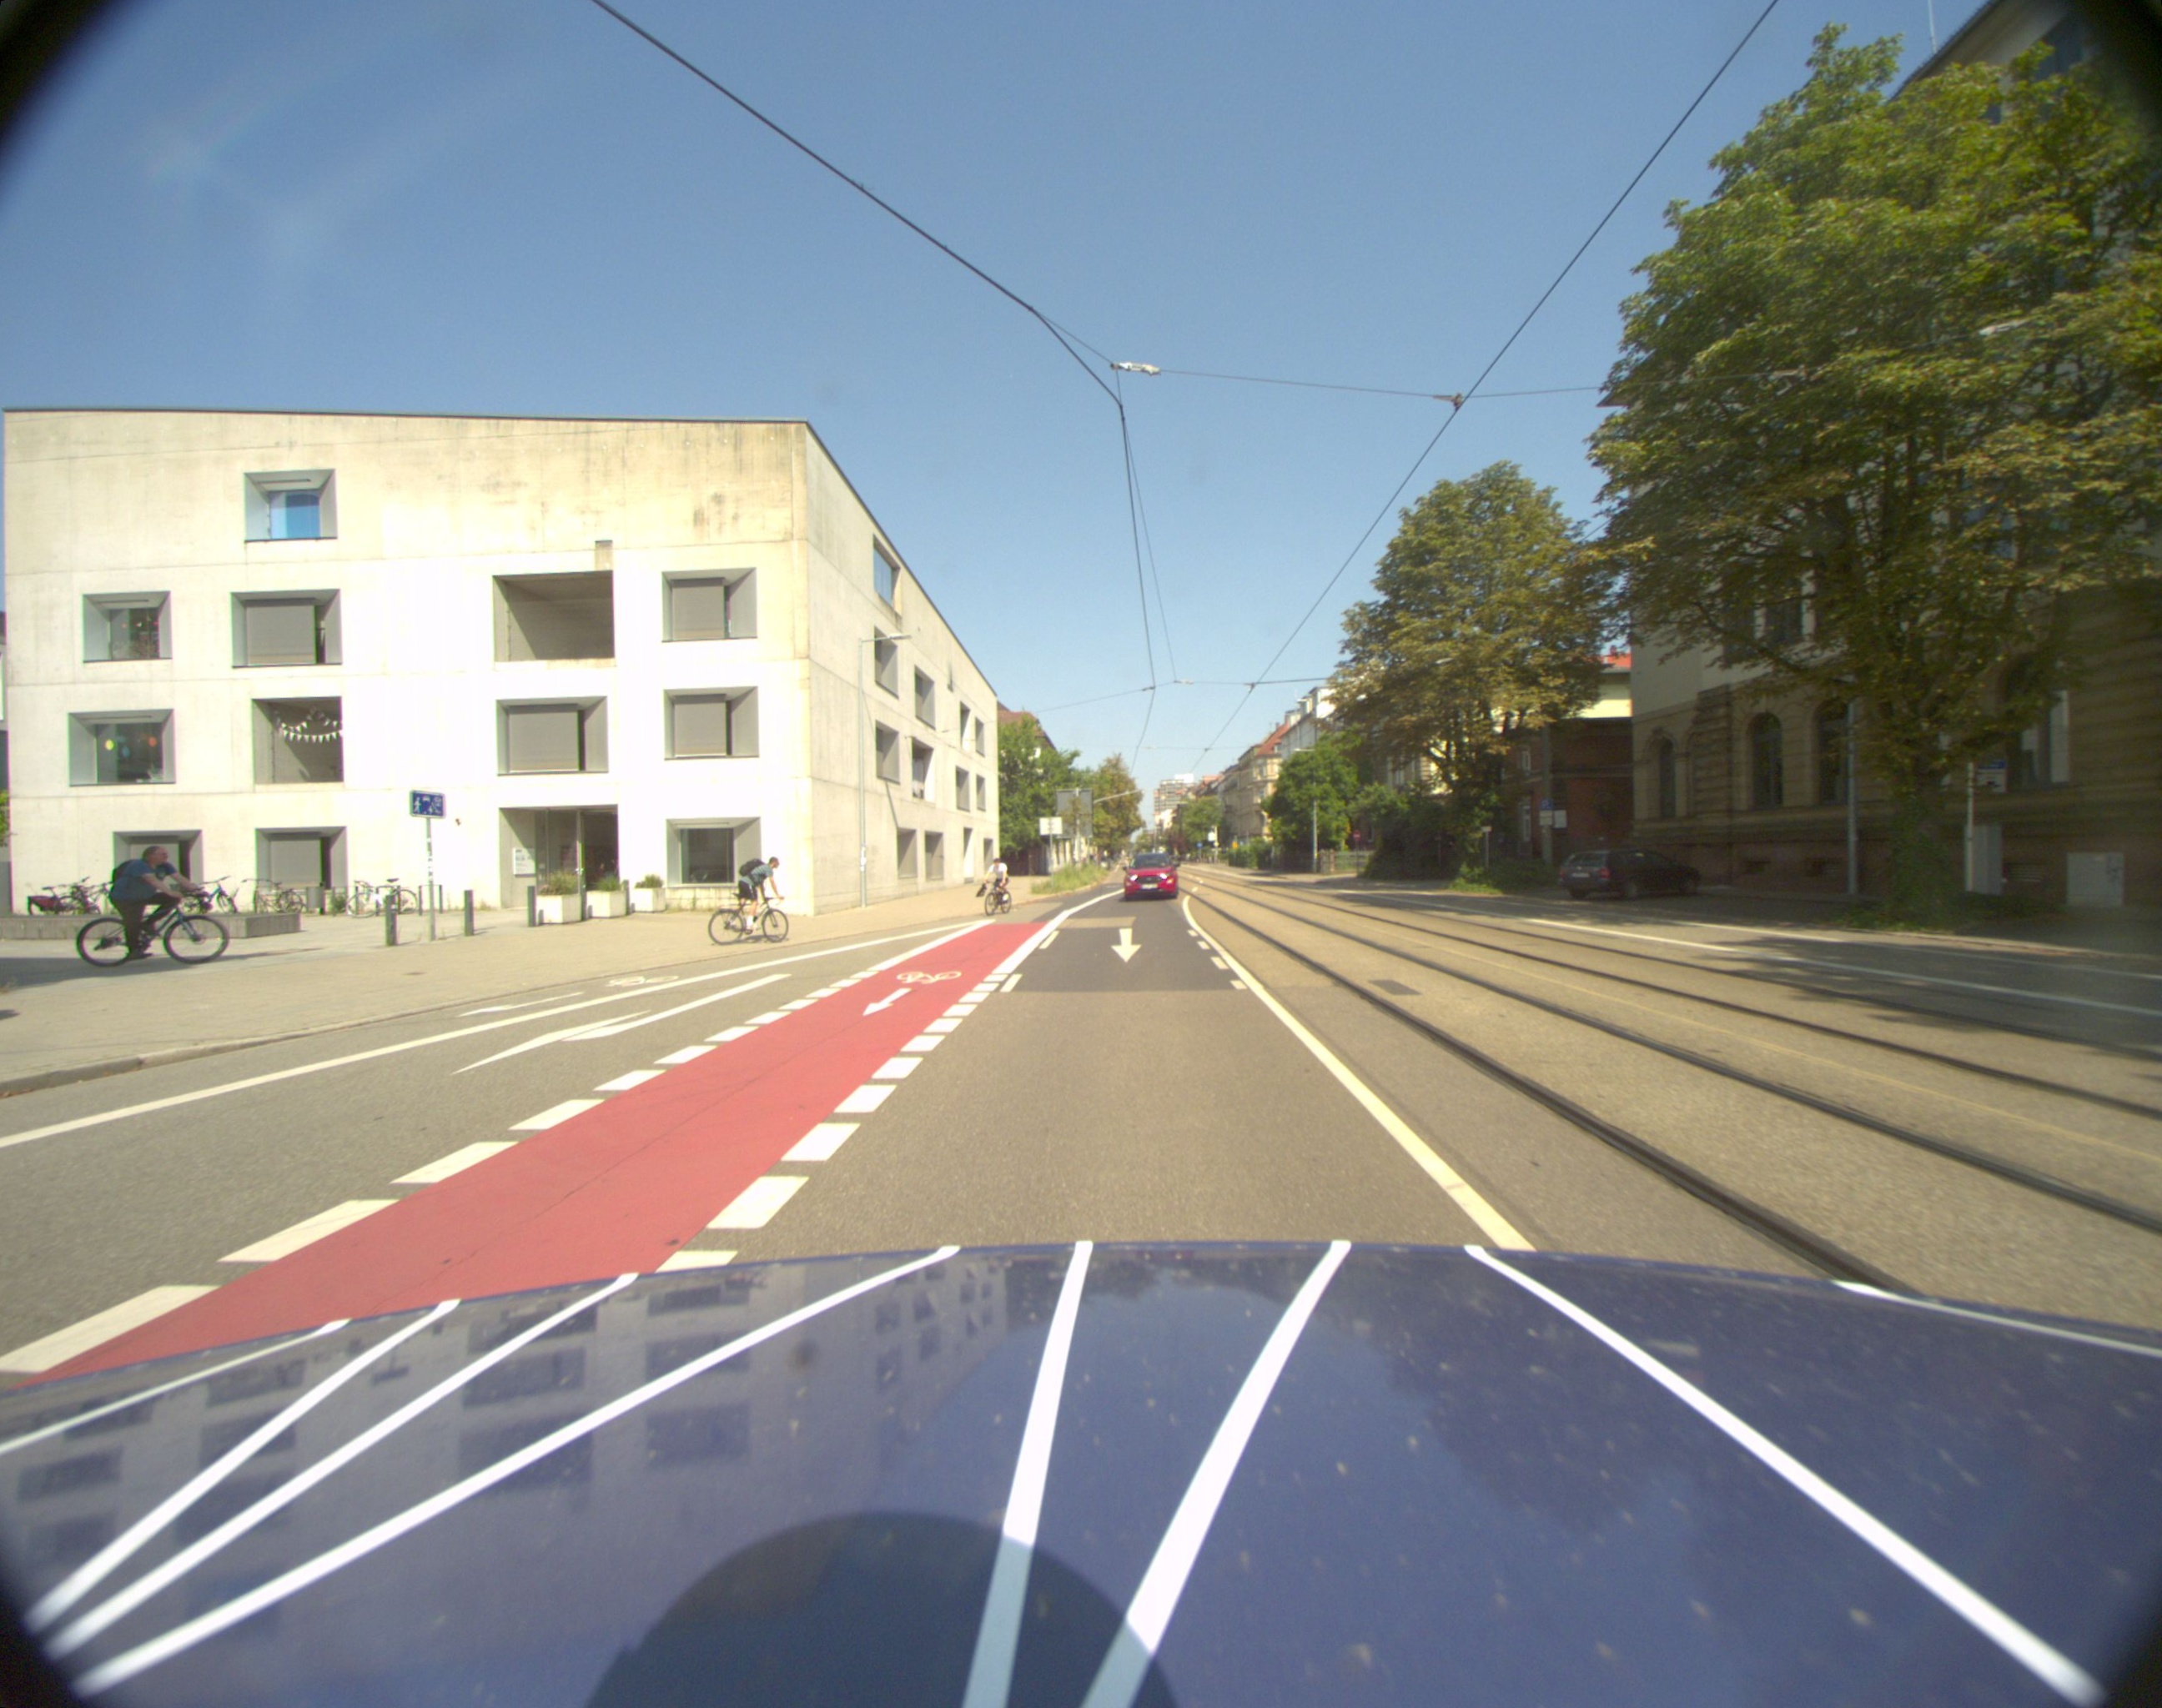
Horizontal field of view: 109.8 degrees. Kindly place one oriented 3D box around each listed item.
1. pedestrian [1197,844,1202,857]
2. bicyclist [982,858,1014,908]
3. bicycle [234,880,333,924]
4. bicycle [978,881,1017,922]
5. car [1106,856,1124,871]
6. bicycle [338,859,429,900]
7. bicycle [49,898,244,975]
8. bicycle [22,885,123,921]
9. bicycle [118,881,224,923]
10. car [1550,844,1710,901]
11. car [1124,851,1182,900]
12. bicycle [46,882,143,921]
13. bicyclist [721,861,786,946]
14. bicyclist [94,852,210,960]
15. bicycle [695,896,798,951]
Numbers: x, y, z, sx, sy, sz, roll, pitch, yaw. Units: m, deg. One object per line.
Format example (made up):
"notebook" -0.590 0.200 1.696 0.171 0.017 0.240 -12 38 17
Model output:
"pedestrian" 19.421 -0.562 124.298 0.657 2.002 0.974 0 1 1
"bicyclist" -2.443 0.842 22.462 0.746 1.403 0.962 -1 1 4
"bicycle" -20.558 1.218 19.639 0.615 0.994 1.668 1 1 14
"bicycle" -2.442 1.368 22.445 0.741 1.043 2.233 -1 1 4
"car" 3.487 0.949 79.225 1.787 1.442 4.751 0 1 1
"bicycle" -18.415 0.664 20.116 0.619 0.949 1.685 -1 3 10
"bicycle" -13.794 1.194 11.285 1.714 0.994 0.614 0 1 -26
"bicycle" -27.693 1.325 20.903 0.513 0.868 1.708 -1 1 -2
"bicycle" -24.204 1.267 20.251 0.615 0.994 1.668 -1 0 14
"car" 16.276 0.506 22.507 4.434 1.453 1.817 -2 1 -23
"car" 2.484 0.678 26.473 1.815 1.542 4.022 -1 0 5
"bicycle" -26.927 1.281 20.783 0.456 0.931 1.627 -1 1 3
"bicyclist" -6.477 0.947 15.021 0.994 1.589 0.626 -2 1 -41
"bicyclist" -13.770 0.748 11.292 0.905 1.530 0.627 1 1 -27
"bicycle" -6.561 1.353 14.947 1.715 0.994 0.614 3 -1 -41
